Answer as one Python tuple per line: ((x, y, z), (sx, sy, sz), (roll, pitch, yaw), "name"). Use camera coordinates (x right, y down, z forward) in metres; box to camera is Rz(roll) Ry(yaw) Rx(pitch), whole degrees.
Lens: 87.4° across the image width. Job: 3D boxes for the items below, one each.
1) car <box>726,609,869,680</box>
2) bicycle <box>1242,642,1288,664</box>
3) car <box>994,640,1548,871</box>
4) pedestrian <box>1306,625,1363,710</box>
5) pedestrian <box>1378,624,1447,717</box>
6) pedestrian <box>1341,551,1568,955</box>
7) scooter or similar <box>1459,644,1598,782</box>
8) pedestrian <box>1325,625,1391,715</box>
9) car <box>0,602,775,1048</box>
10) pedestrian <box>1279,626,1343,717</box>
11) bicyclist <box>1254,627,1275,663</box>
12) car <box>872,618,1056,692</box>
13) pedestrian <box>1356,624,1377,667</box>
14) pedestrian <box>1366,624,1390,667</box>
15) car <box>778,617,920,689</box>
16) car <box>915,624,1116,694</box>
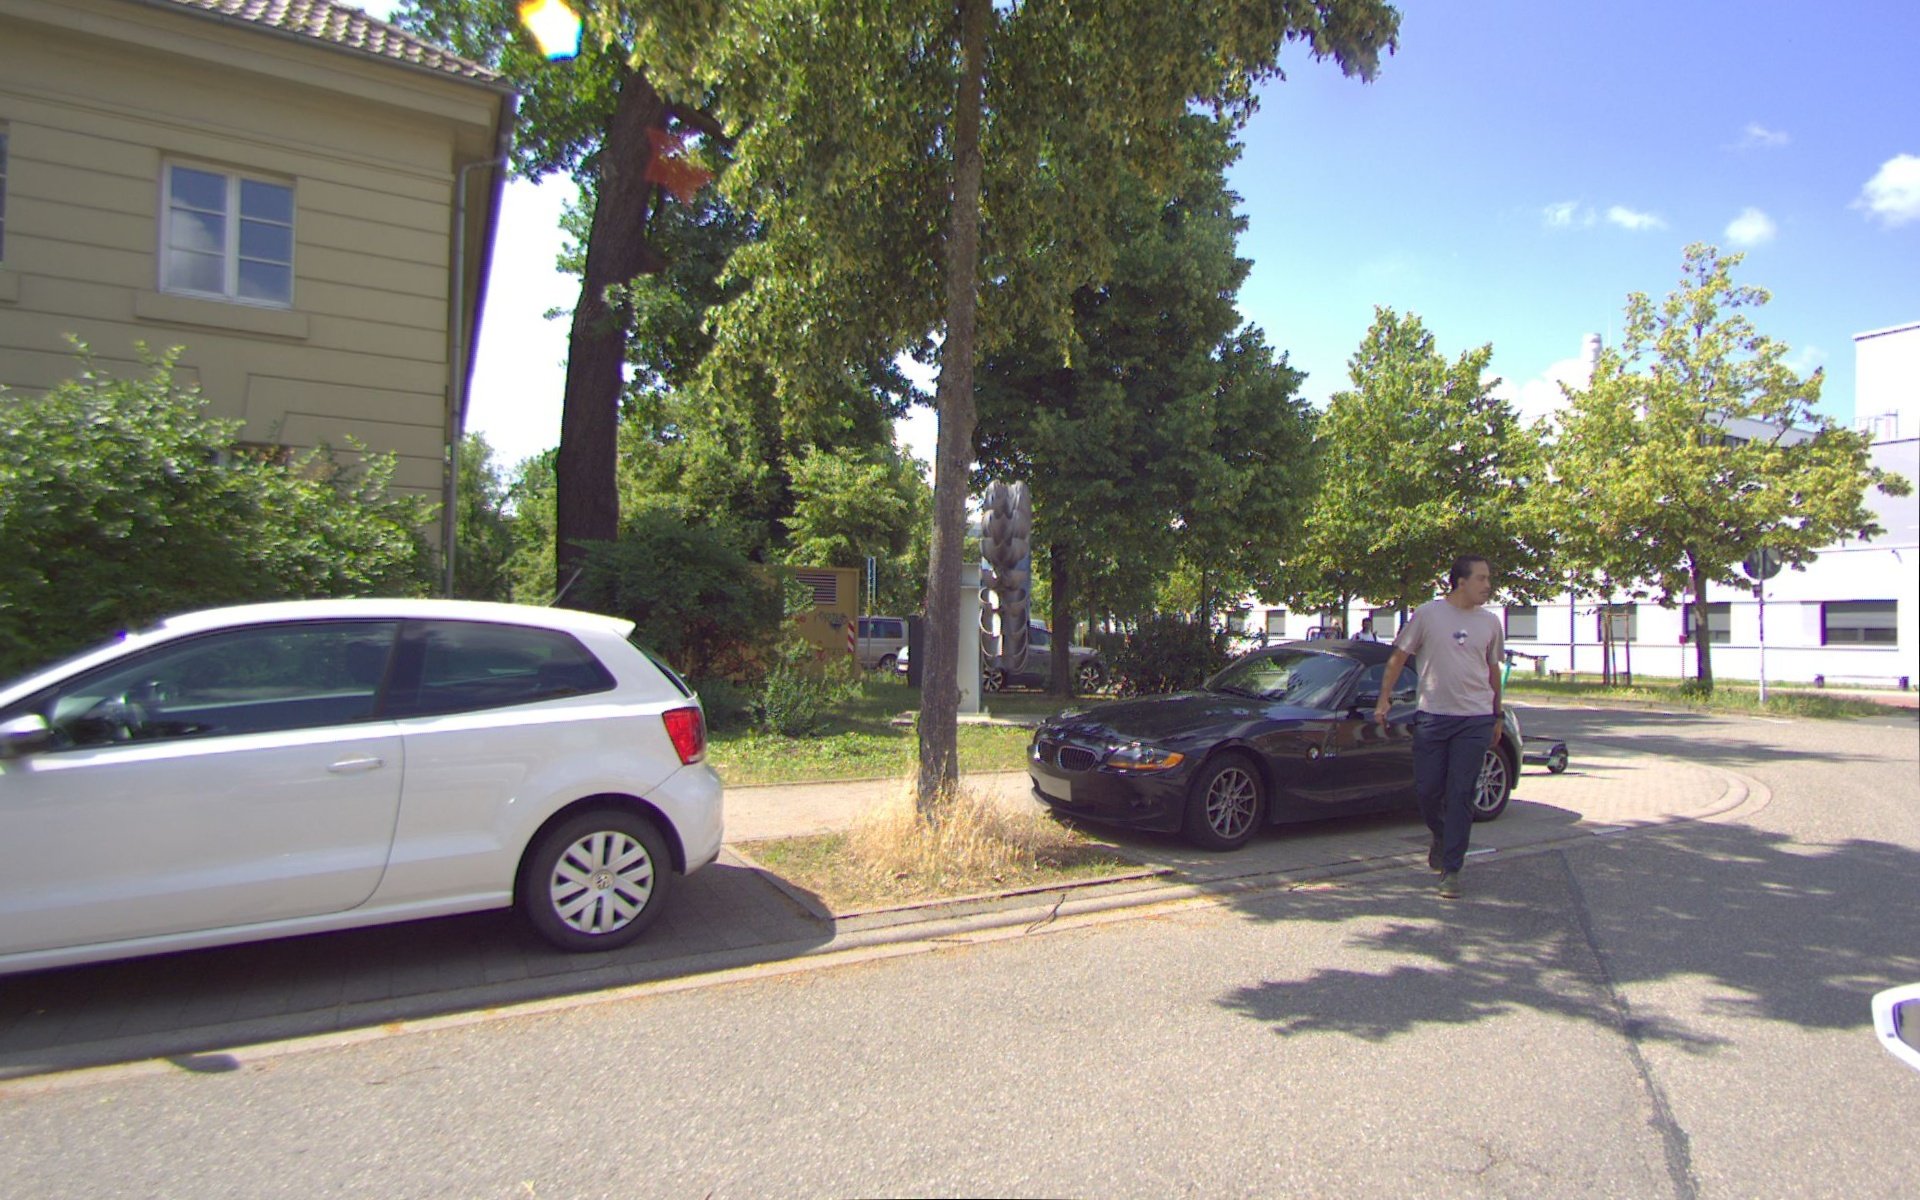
((-5.918, 1.636, 36.601), (4.675, 2.424, 2.233), (1, -4, -29), "car")
((15.439, 2.694, 50.878), (0.805, 1.015, 2.097), (3, -2, -43), "bicycle")
((2.334, 0.967, 7.409), (3.877, 1.318, 1.639), (1, -2, -27), "car")
((7.955, 1.420, 21.382), (0.838, 1.773, 0.853), (-1, -1, -3), "pedestrian")
((8.667, 1.336, 19.274), (0.839, 1.731, 0.852), (-1, -1, -10), "pedestrian")
((2.761, 0.745, 5.567), (1.000, 1.928, 1.176), (1, -1, 31), "pedestrian")
((5.706, 1.110, 10.095), (1.196, 1.316, 0.504), (0, -2, -16), "scooter or similar")
((7.881, 1.367, 19.914), (0.839, 1.731, 0.852), (-1, -1, -12), "pedestrian")
((-2.868, 0.749, 4.312), (3.760, 1.430, 1.655), (1, -1, -28), "car")
((6.926, 1.390, 19.846), (0.840, 1.731, 0.851), (-1, -1, -16), "pedestrian")
((15.422, 2.276, 50.919), (0.805, 1.779, 0.684), (3, -2, -43), "bicyclist")
((0.116, 1.422, 26.061), (4.386, 1.791, 1.921), (1, -4, -29), "car")
((17.105, 1.921, 42.287), (0.579, 1.788, 0.549), (2, -1, -27), "pedestrian")
((17.755, 1.935, 42.668), (0.628, 1.772, 0.690), (2, -1, -27), "pedestrian")
((-3.745, 1.795, 34.021), (4.386, 2.320, 1.921), (1, -4, -29), "car")
((1.326, 1.380, 23.735), (4.386, 1.535, 1.921), (1, -5, -29), "car")
